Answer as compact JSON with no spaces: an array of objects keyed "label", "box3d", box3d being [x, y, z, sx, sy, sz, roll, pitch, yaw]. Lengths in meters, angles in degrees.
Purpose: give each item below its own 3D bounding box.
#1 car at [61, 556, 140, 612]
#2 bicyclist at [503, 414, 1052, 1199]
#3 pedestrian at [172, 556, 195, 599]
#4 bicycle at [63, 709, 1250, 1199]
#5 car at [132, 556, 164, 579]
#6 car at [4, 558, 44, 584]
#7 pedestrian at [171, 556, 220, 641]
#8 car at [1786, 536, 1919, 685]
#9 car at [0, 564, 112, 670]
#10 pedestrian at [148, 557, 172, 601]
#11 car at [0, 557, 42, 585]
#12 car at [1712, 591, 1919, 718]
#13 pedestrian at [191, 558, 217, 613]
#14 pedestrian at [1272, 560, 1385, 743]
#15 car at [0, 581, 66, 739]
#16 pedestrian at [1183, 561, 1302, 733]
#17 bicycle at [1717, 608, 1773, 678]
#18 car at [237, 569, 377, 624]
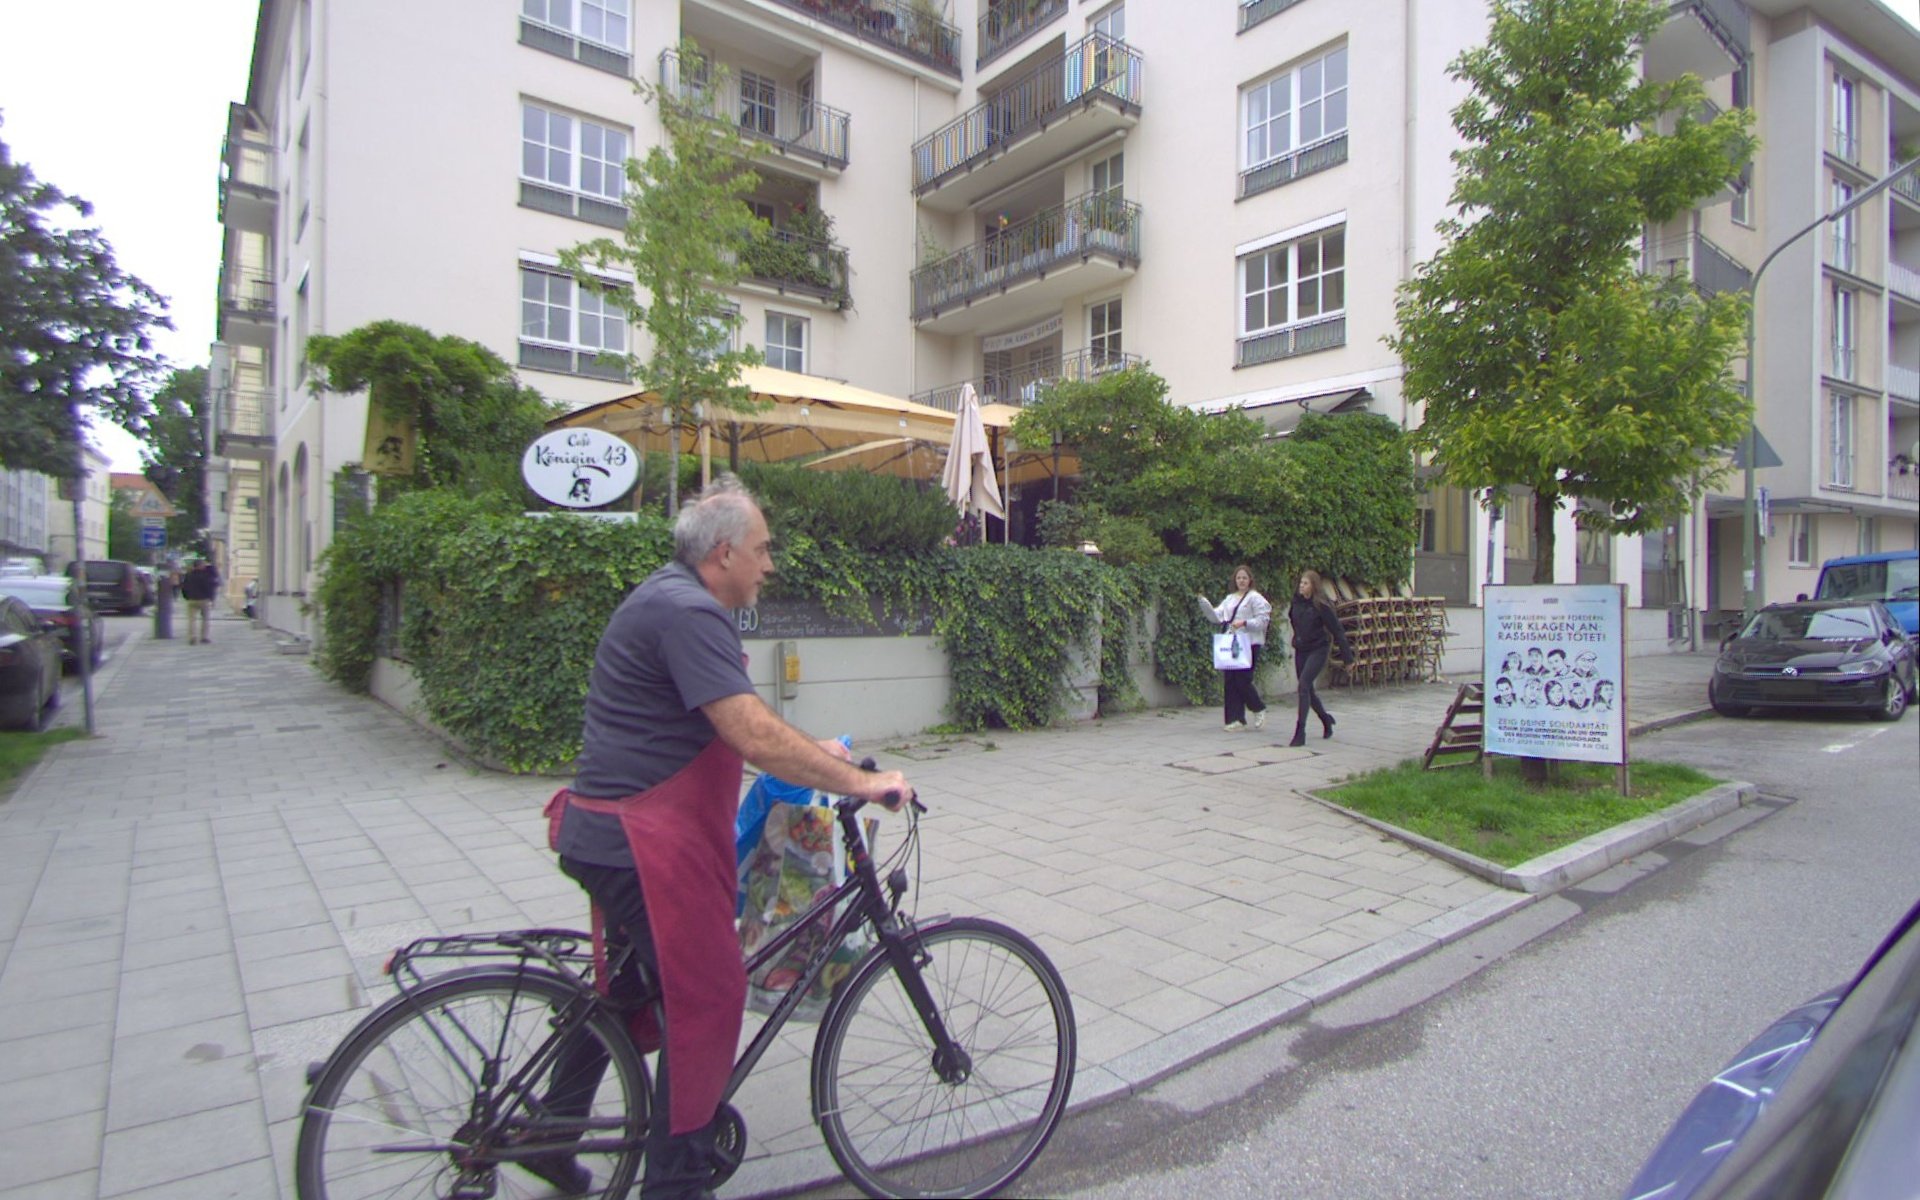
[{"label":"car","box3d":[-29.415,-0.535,34.742,1.786,1.797,3.999,1,1,-37]},{"label":"bicyclist","box3d":[-0.462,0.498,2.324,1.027,1.629,0.880,1,0,-23]},{"label":"pedestrian","box3d":[-36.974,-1.079,48.169,0.775,2.039,0.830,1,0,-43]},{"label":"bicycle","box3d":[-0.500,0.848,2.312,2.145,1.032,0.881,1,0,-23]},{"label":"car","box3d":[-56.773,-2.277,70.798,1.673,1.527,3.997,1,1,-39]},{"label":"car","box3d":[-61.468,-1.892,66.531,1.758,1.683,3.994,1,1,-41]},{"label":"pedestrian","box3d":[-15.939,-0.039,21.102,0.774,1.735,0.831,1,0,-38]},{"label":"car","box3d":[16.193,0.121,17.100,4.935,2.242,2.114,-2,-3,-36]},{"label":"car","box3d":[-15.125,0.218,16.522,1.692,1.549,3.999,1,1,-37]},{"label":"pedestrian","box3d":[-37.588,-0.992,47.544,0.775,2.039,0.830,1,0,-43]},{"label":"car","box3d":[-58.421,-1.805,63.021,1.758,1.683,3.994,1,1,-41]},{"label":"car","box3d":[11.434,0.641,13.245,3.930,1.413,1.716,0,-3,-41]},{"label":"pedestrian","box3d":[-28.274,-0.530,37.861,0.742,2.039,0.831,1,0,-37]},{"label":"pedestrian","box3d":[3.493,0.446,9.595,0.815,1.648,0.680,-1,2,-39]},{"label":"car","box3d":[-10.678,0.510,10.464,1.934,1.416,4.500,1,1,-39]},{"label":"pedestrian","box3d":[2.818,0.429,10.121,0.814,1.626,0.809,-1,2,-38]},{"label":"bicycle","box3d":[13.071,0.683,16.831,0.565,1.083,1.759,1,0,43]},{"label":"car","box3d":[-19.484,-0.097,30.242,3.417,1.549,1.576,1,0,-37]}]
